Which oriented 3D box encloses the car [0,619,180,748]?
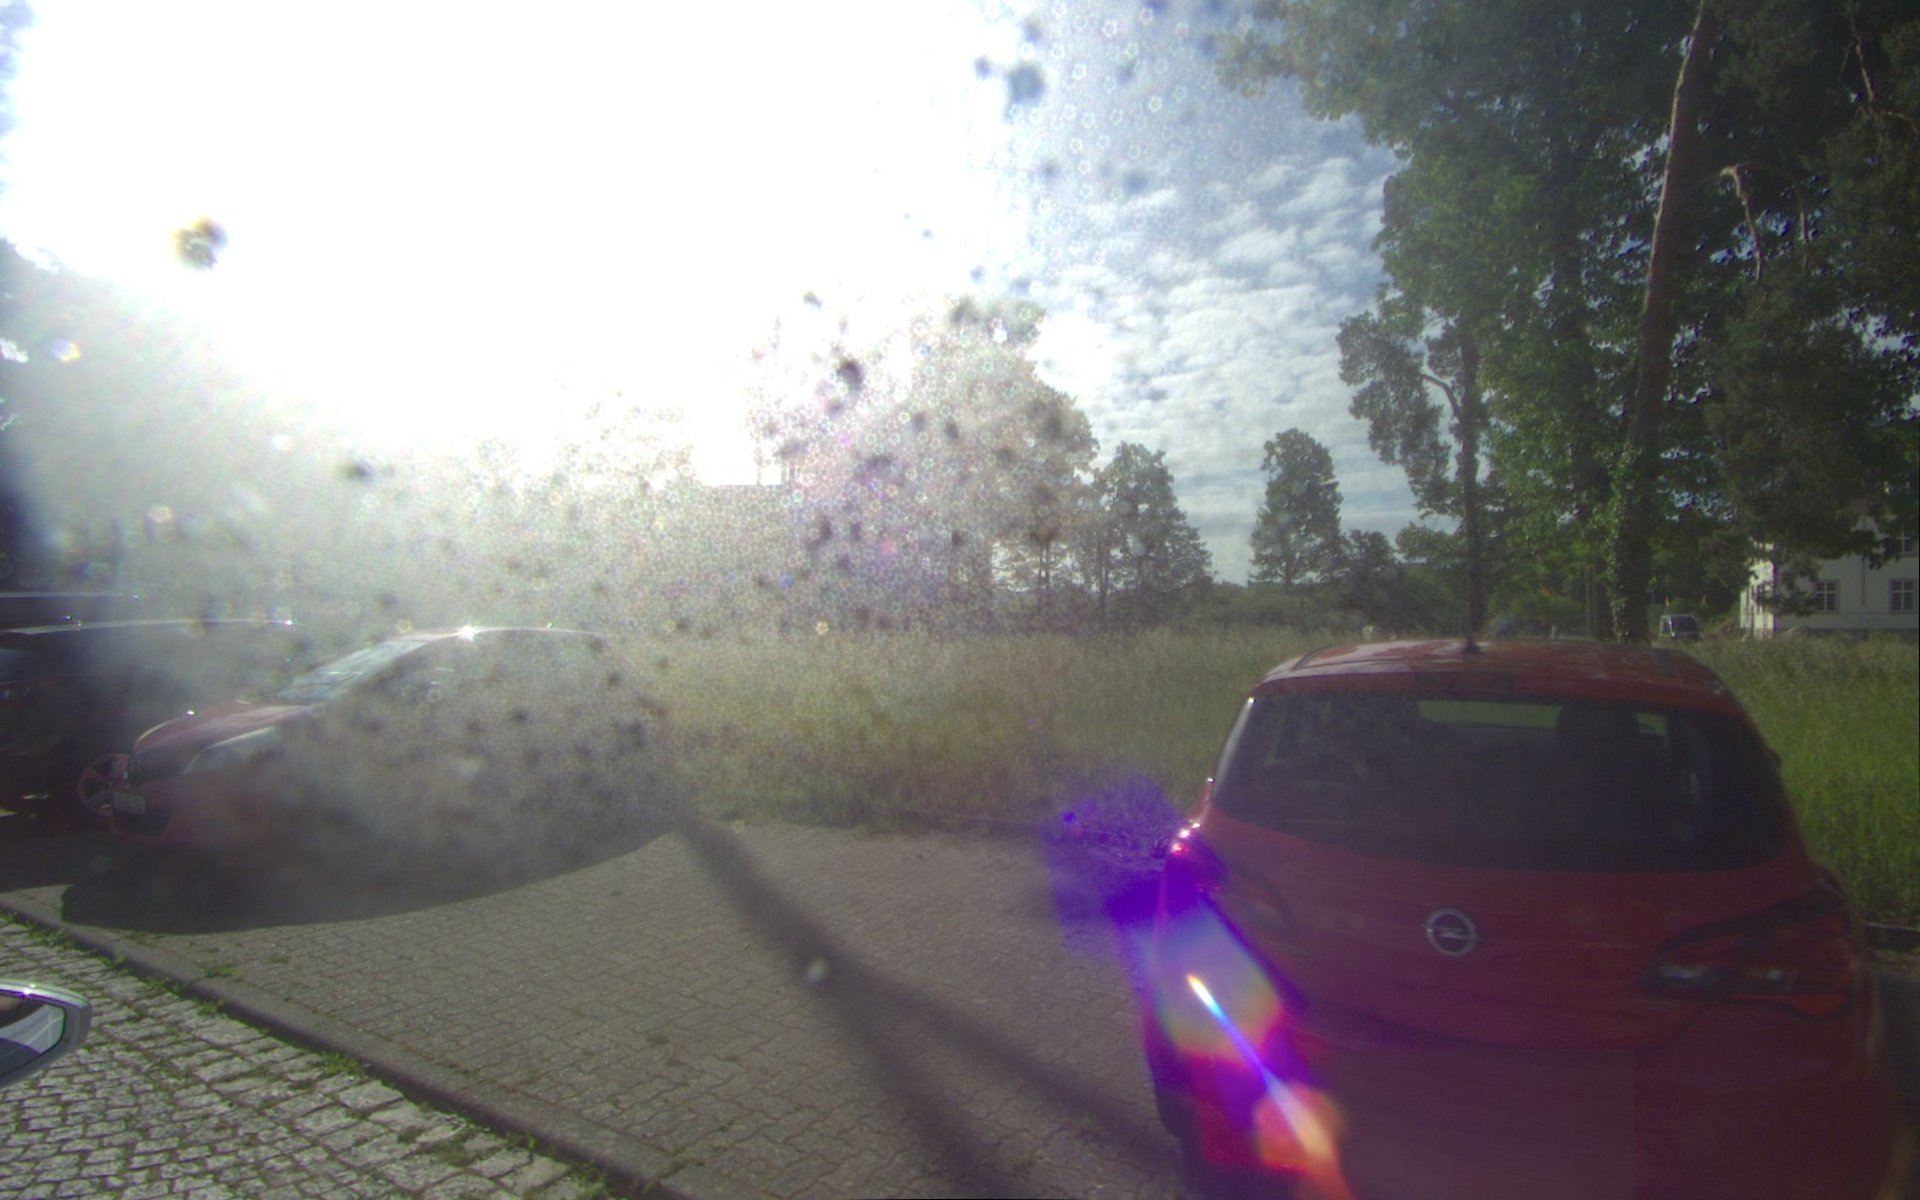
[{"bbox_3d":[-12.025,1.009,12.146,1.585,1.486,3.715,0,0,29],"label":"car"}]

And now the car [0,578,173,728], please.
[{"bbox_3d":[-14.082,0.733,13.743,1.971,2.041,4.743,0,1,32],"label":"car"}]

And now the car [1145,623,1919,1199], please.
[{"bbox_3d":[2.120,0.862,3.813,1.517,1.514,3.982,0,-2,31],"label":"car"}]

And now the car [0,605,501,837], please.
[{"bbox_3d":[-6.573,0.887,9.142,1.759,1.632,4.102,0,-1,30],"label":"car"}]

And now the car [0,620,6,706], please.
[{"bbox_3d":[-18.520,1.090,16.618,1.611,1.511,3.638,0,-1,32],"label":"car"}]

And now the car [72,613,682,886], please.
[{"bbox_3d":[-4.223,0.892,7.869,1.679,1.559,3.818,0,0,32],"label":"car"}]

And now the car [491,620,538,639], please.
[{"bbox_3d":[-41.500,2.719,93.352,1.743,1.692,3.627,0,-1,34],"label":"car"}]

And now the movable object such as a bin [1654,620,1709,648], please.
[{"bbox_3d":[55.038,2.578,76.496,2.087,2.040,5.724,0,-1,22],"label":"movable object such as a bin"}]
